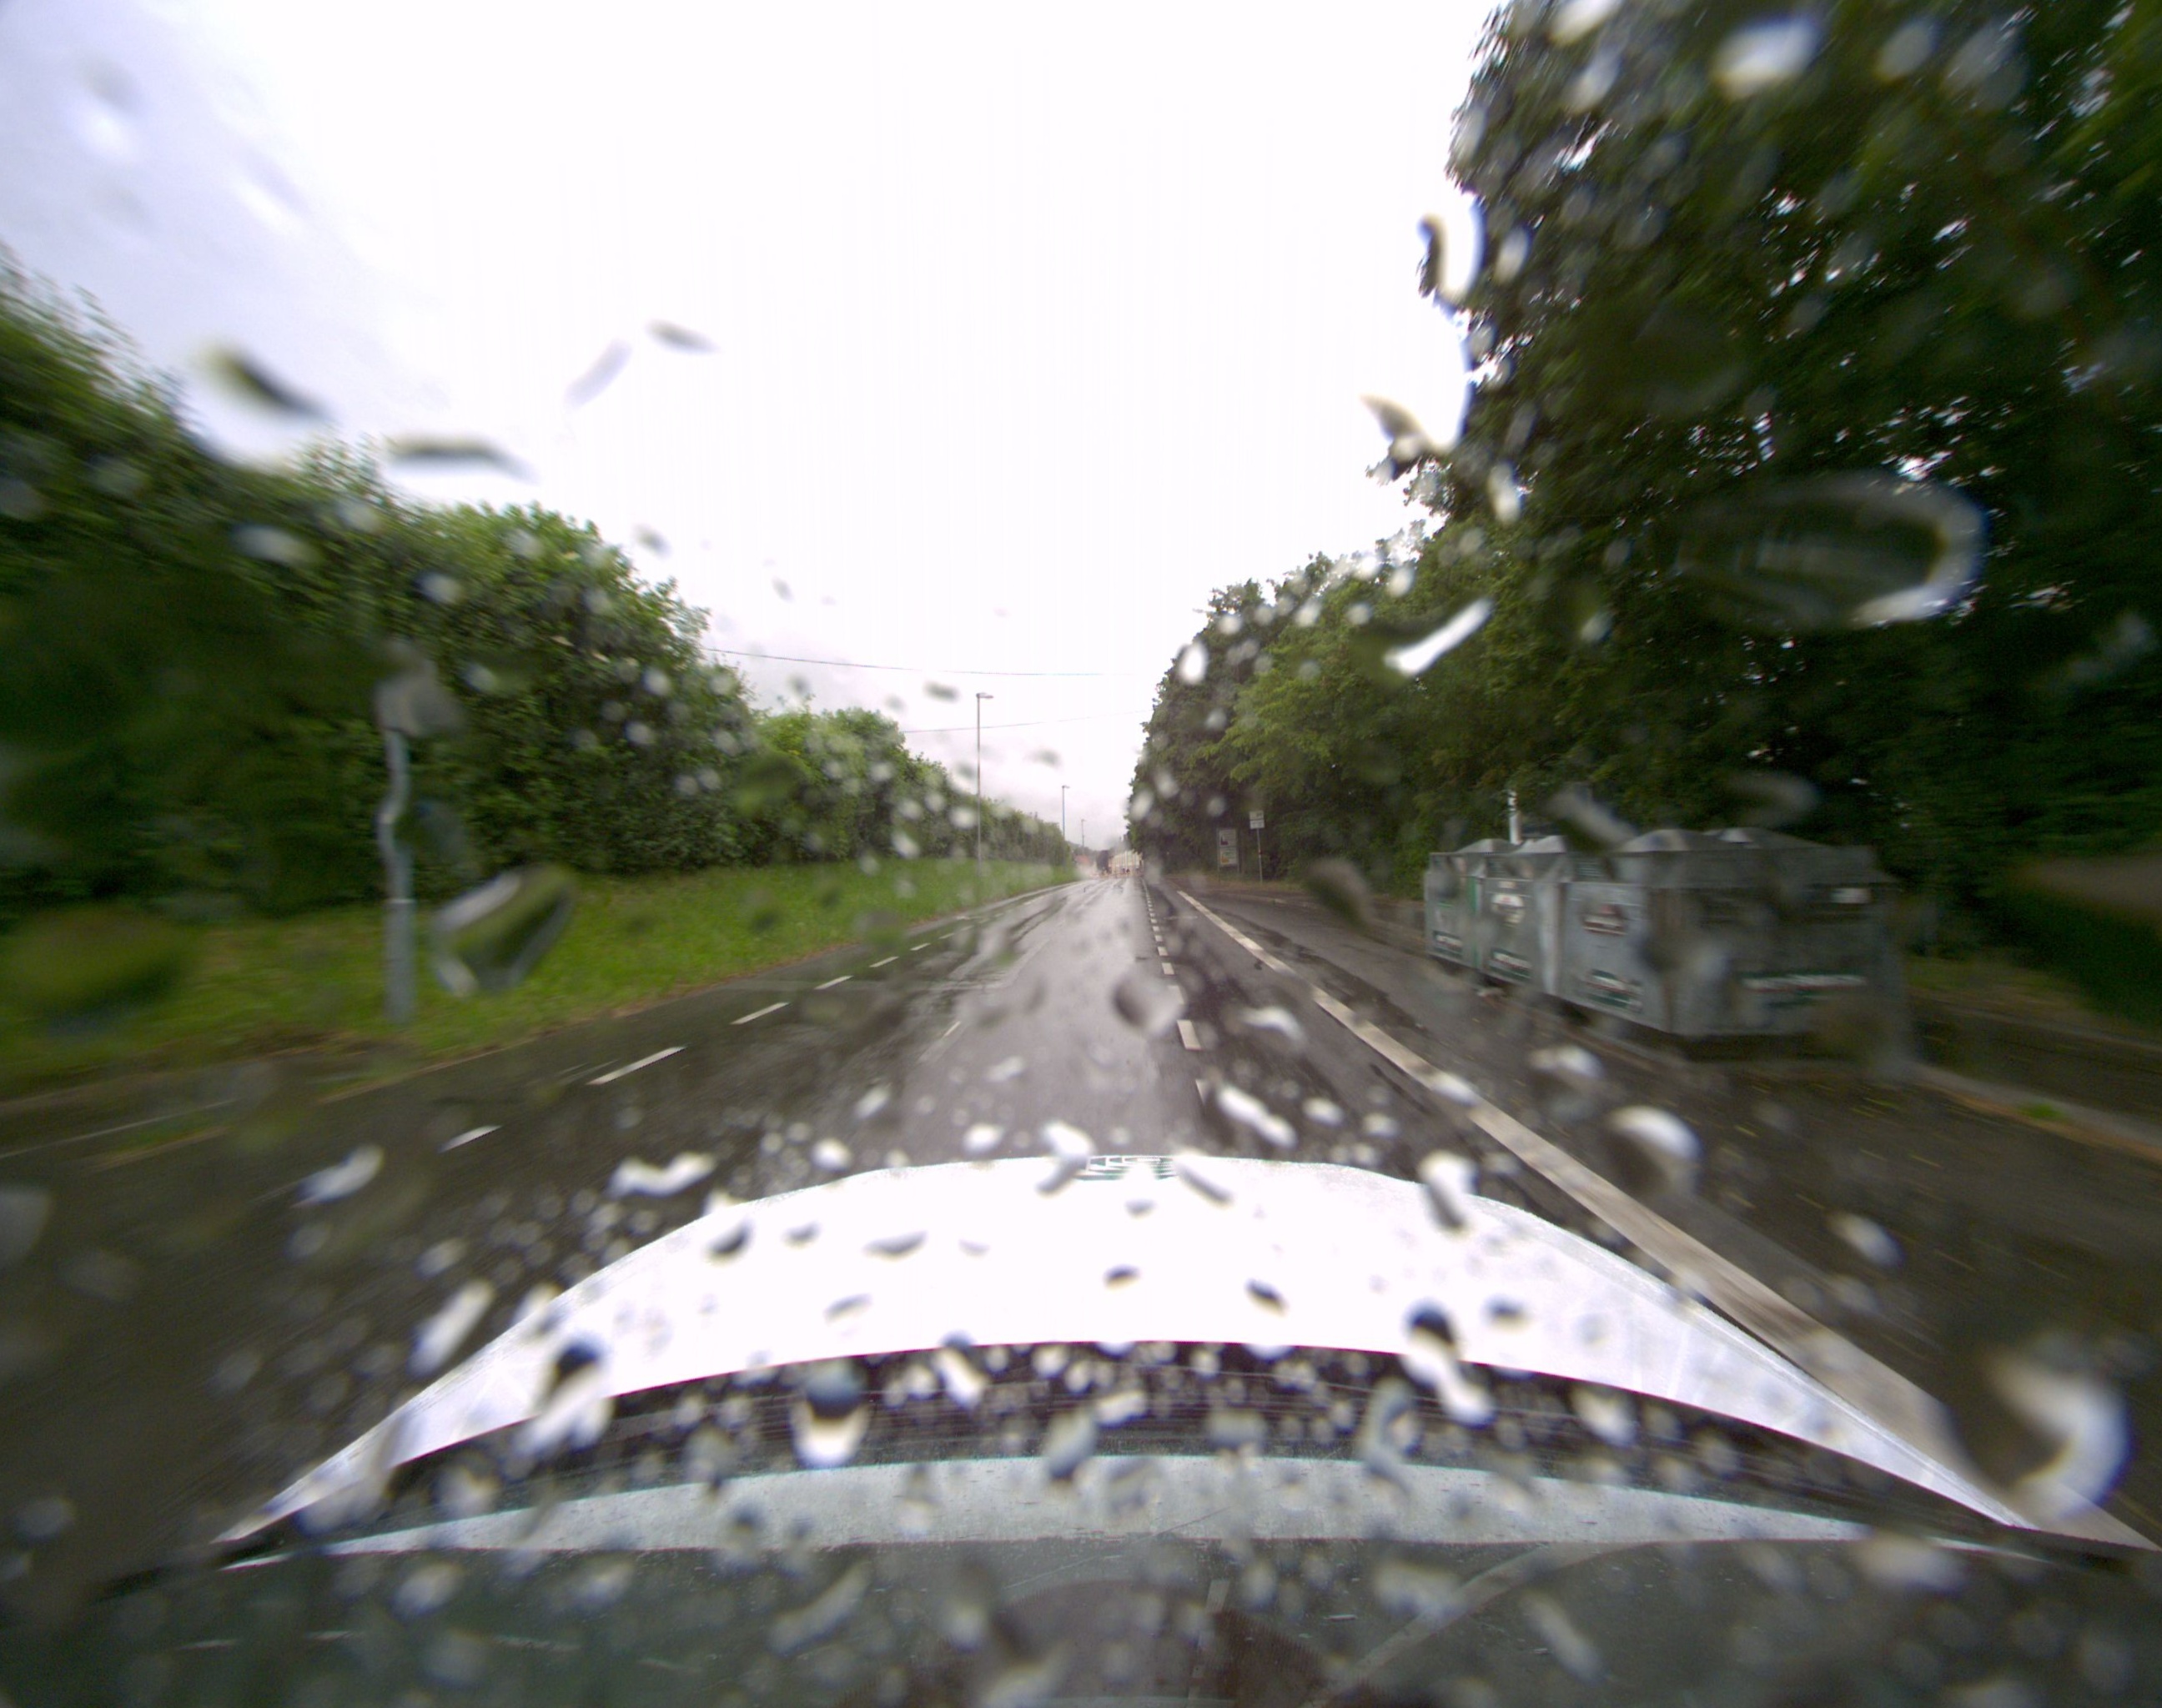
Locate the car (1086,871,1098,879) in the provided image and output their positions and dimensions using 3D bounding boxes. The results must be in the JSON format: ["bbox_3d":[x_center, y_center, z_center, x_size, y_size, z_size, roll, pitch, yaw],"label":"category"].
[{"bbox_3d":[2.239,4.310,168.761,1.991,1.611,3.992,1,0,-6],"label":"car"}]
